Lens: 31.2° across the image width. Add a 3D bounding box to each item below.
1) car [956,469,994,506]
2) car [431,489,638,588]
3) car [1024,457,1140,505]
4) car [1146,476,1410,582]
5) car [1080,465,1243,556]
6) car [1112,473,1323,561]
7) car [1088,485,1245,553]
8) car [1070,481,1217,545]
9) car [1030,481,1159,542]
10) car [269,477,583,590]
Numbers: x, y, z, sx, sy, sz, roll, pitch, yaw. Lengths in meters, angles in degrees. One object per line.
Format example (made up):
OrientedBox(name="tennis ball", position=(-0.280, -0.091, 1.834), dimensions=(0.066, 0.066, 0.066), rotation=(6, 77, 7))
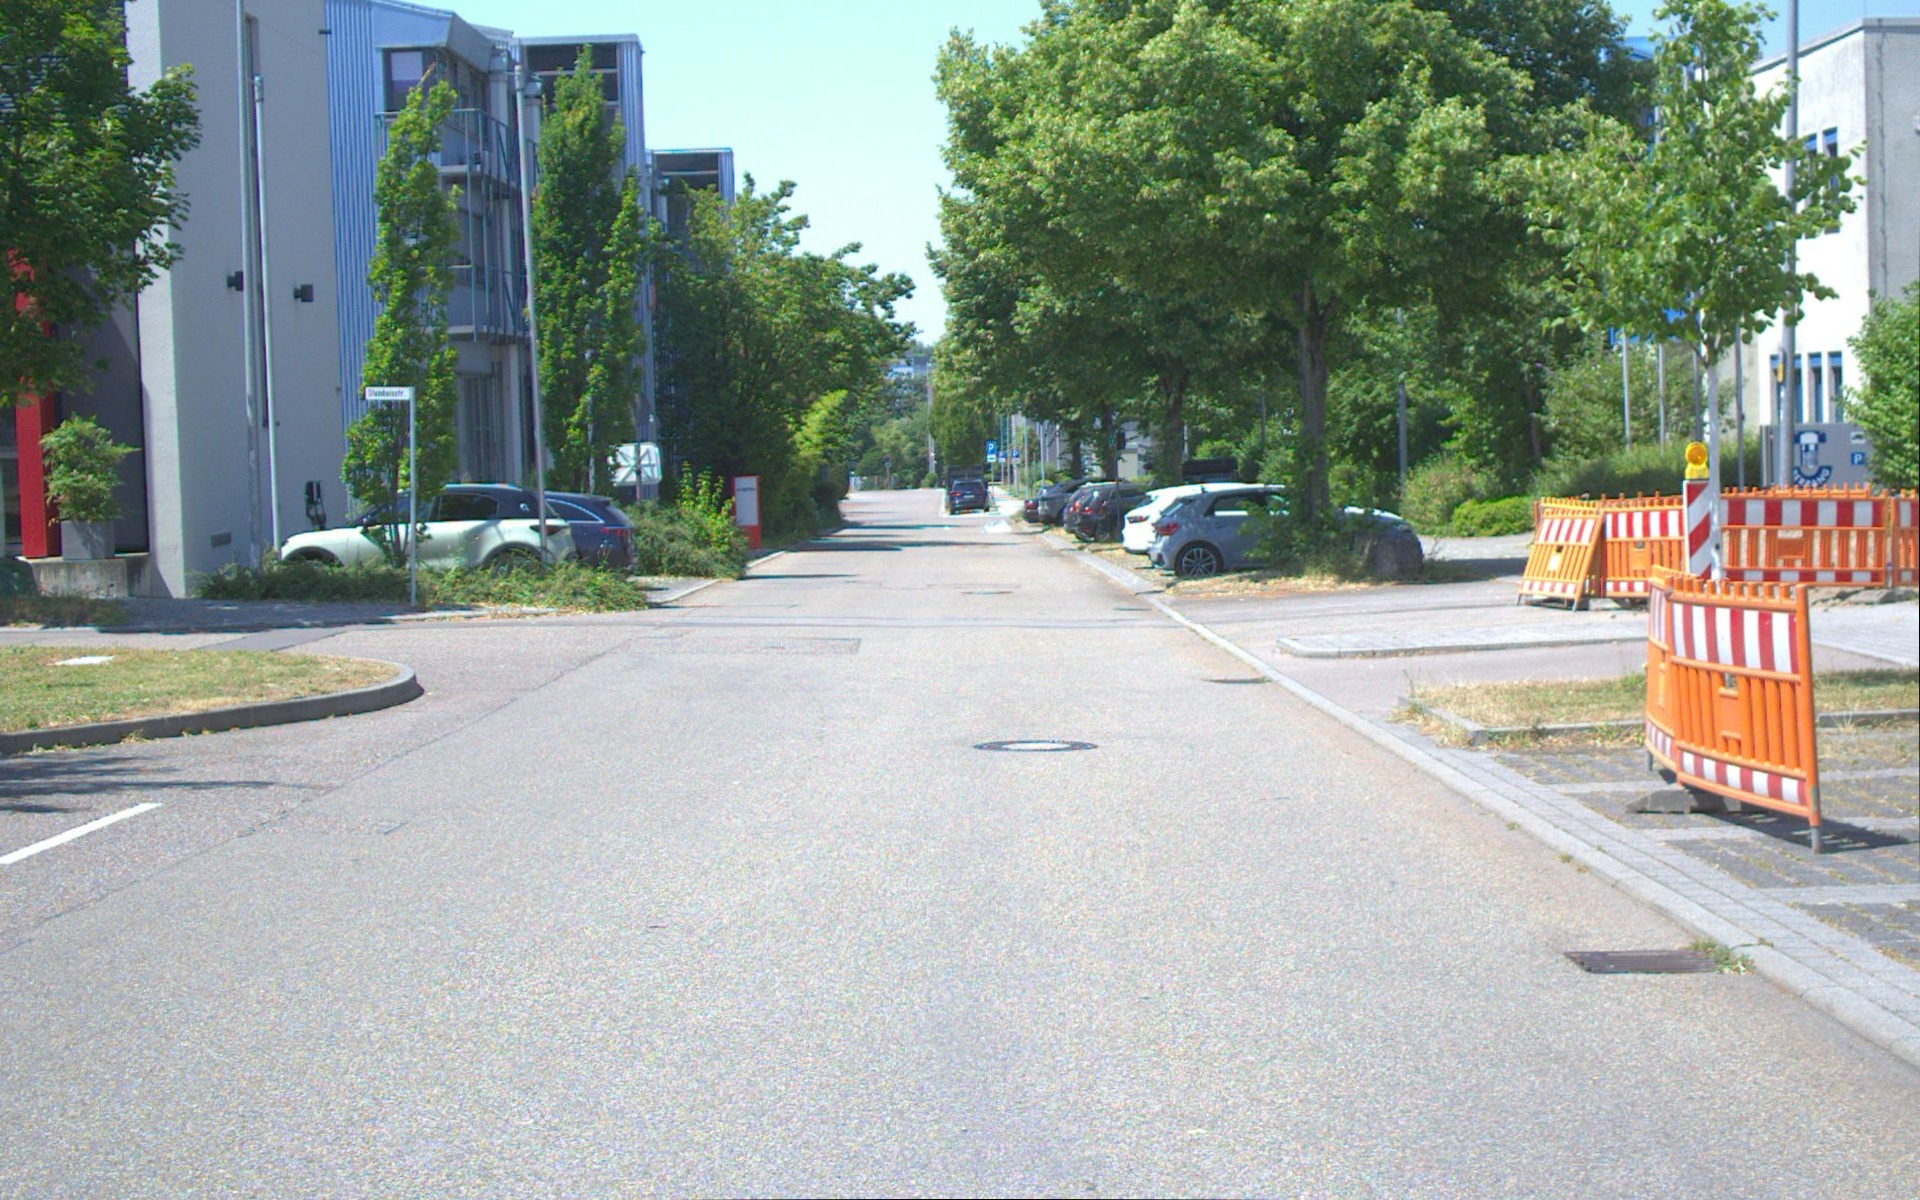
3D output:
OrientedBox(name="car", position=(0.702, -5.324, 162.785), dimensions=(1.761, 1.749, 3.945), rotation=(0, 2, 1))
OrientedBox(name="car", position=(-6.404, -0.931, 51.824), dimensions=(3.057, 1.473, 1.293), rotation=(0, 2, -6))
OrientedBox(name="car", position=(4.390, -4.283, 123.725), dimensions=(3.931, 1.572, 1.768), rotation=(-1, 5, -7))
OrientedBox(name="car", position=(4.792, -1.084, 52.083), dimensions=(3.678, 1.349, 1.646), rotation=(-4, 2, -4))
OrientedBox(name="car", position=(4.706, -2.100, 80.662), dimensions=(3.722, 2.103, 1.814), rotation=(0, 2, 0))
OrientedBox(name="car", position=(4.603, -1.487, 61.716), dimensions=(3.516, 1.349, 1.538), rotation=(-4, 2, -4))
OrientedBox(name="car", position=(5.042, -1.997, 84.131), dimensions=(3.722, 1.621, 1.814), rotation=(0, 2, 0))
OrientedBox(name="car", position=(4.770, -2.262, 89.563), dimensions=(3.722, 1.621, 1.814), rotation=(0, 2, 0))
OrientedBox(name="car", position=(4.360, -2.889, 111.500), dimensions=(3.931, 1.828, 1.768), rotation=(-1, 5, -7))
OrientedBox(name="car", position=(-7.233, -0.914, 46.881), dimensions=(4.045, 1.489, 1.729), rotation=(0, 2, -2))
